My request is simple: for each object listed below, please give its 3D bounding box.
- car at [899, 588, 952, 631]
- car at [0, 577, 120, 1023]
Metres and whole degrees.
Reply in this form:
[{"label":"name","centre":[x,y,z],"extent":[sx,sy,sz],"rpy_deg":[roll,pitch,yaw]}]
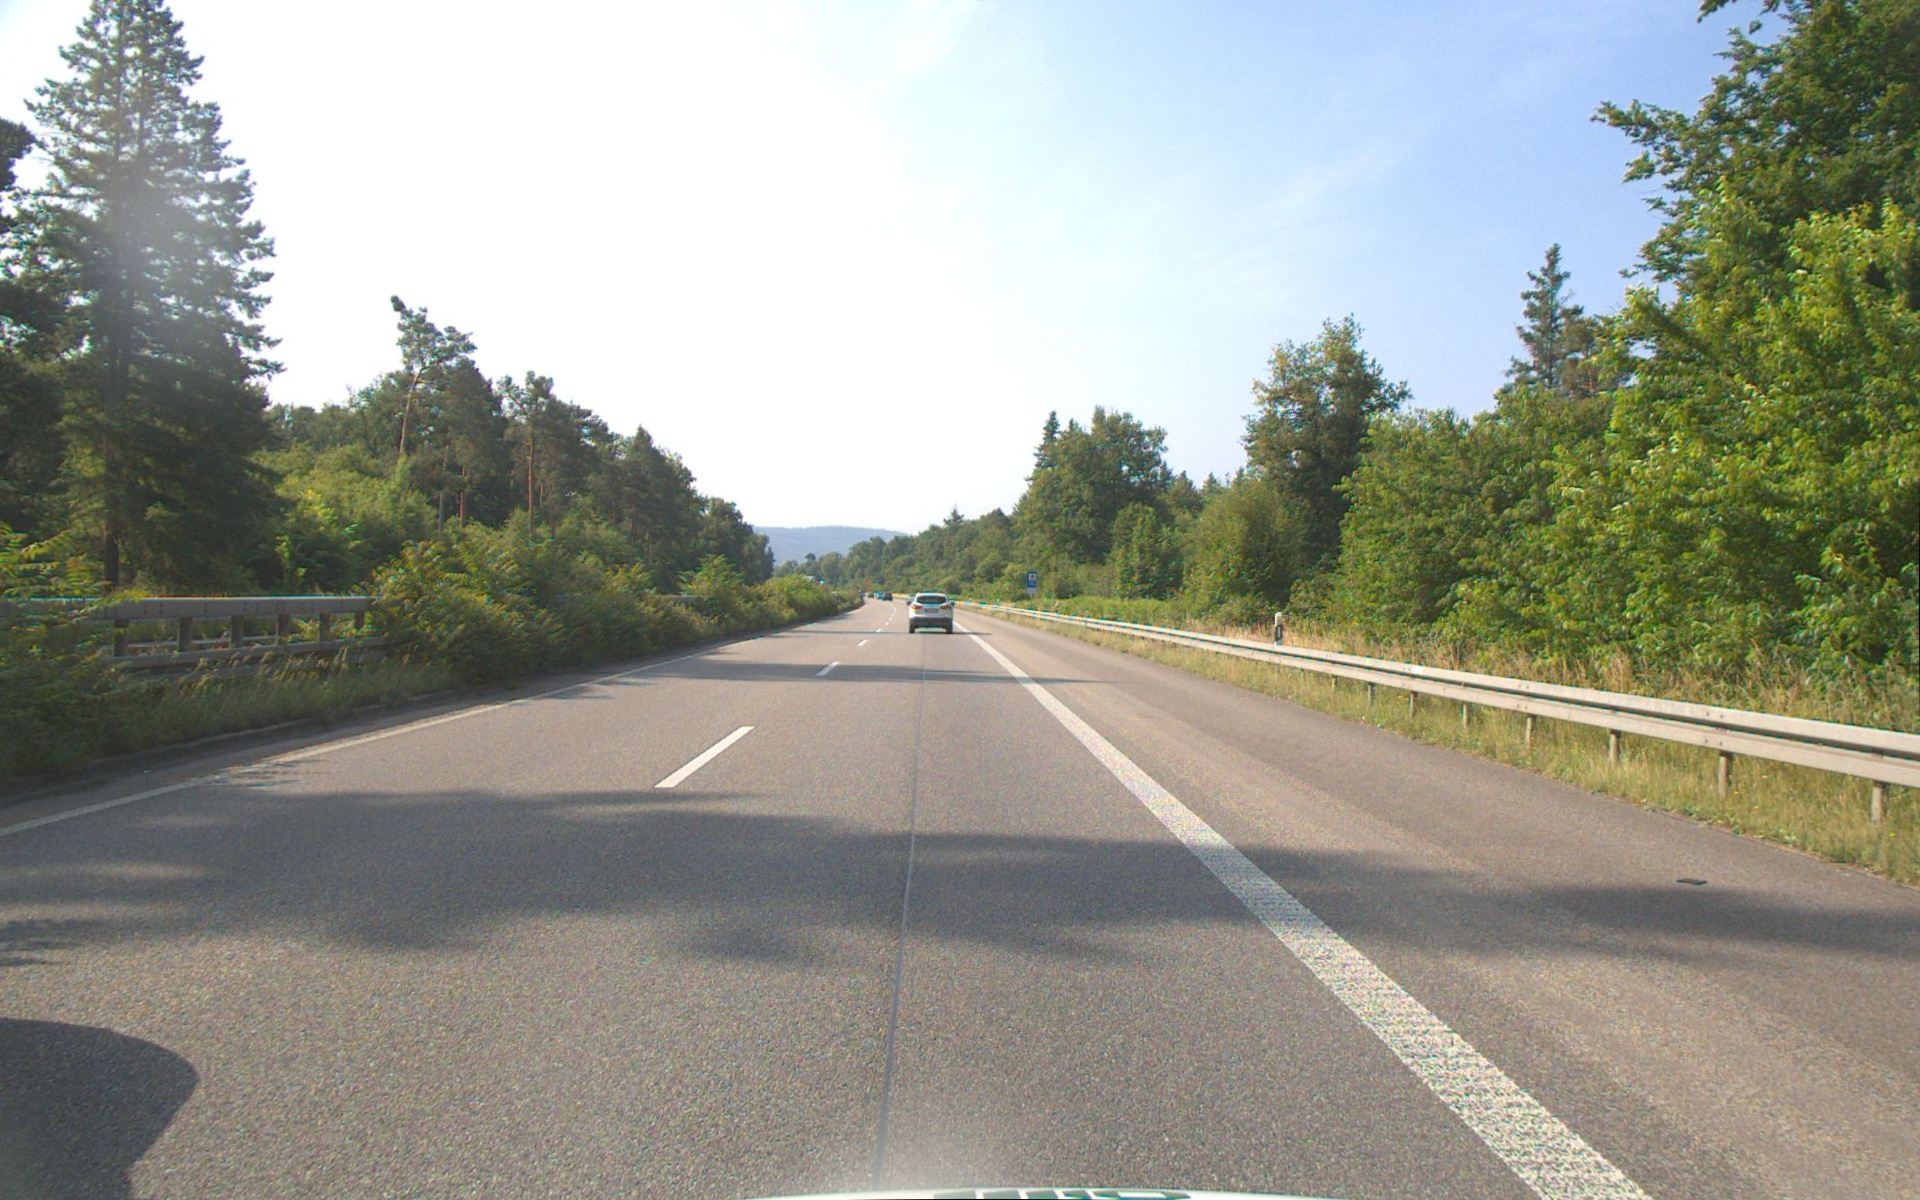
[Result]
[{"label":"car","centre":[-1.427,0.358,67.217],"extent":[1.837,1.614,3.996],"rpy_deg":[3,0,-5]},{"label":"car","centre":[-3.994,0.672,3.575],"extent":[1.756,1.463,5.277],"rpy_deg":[0,0,-1]}]
